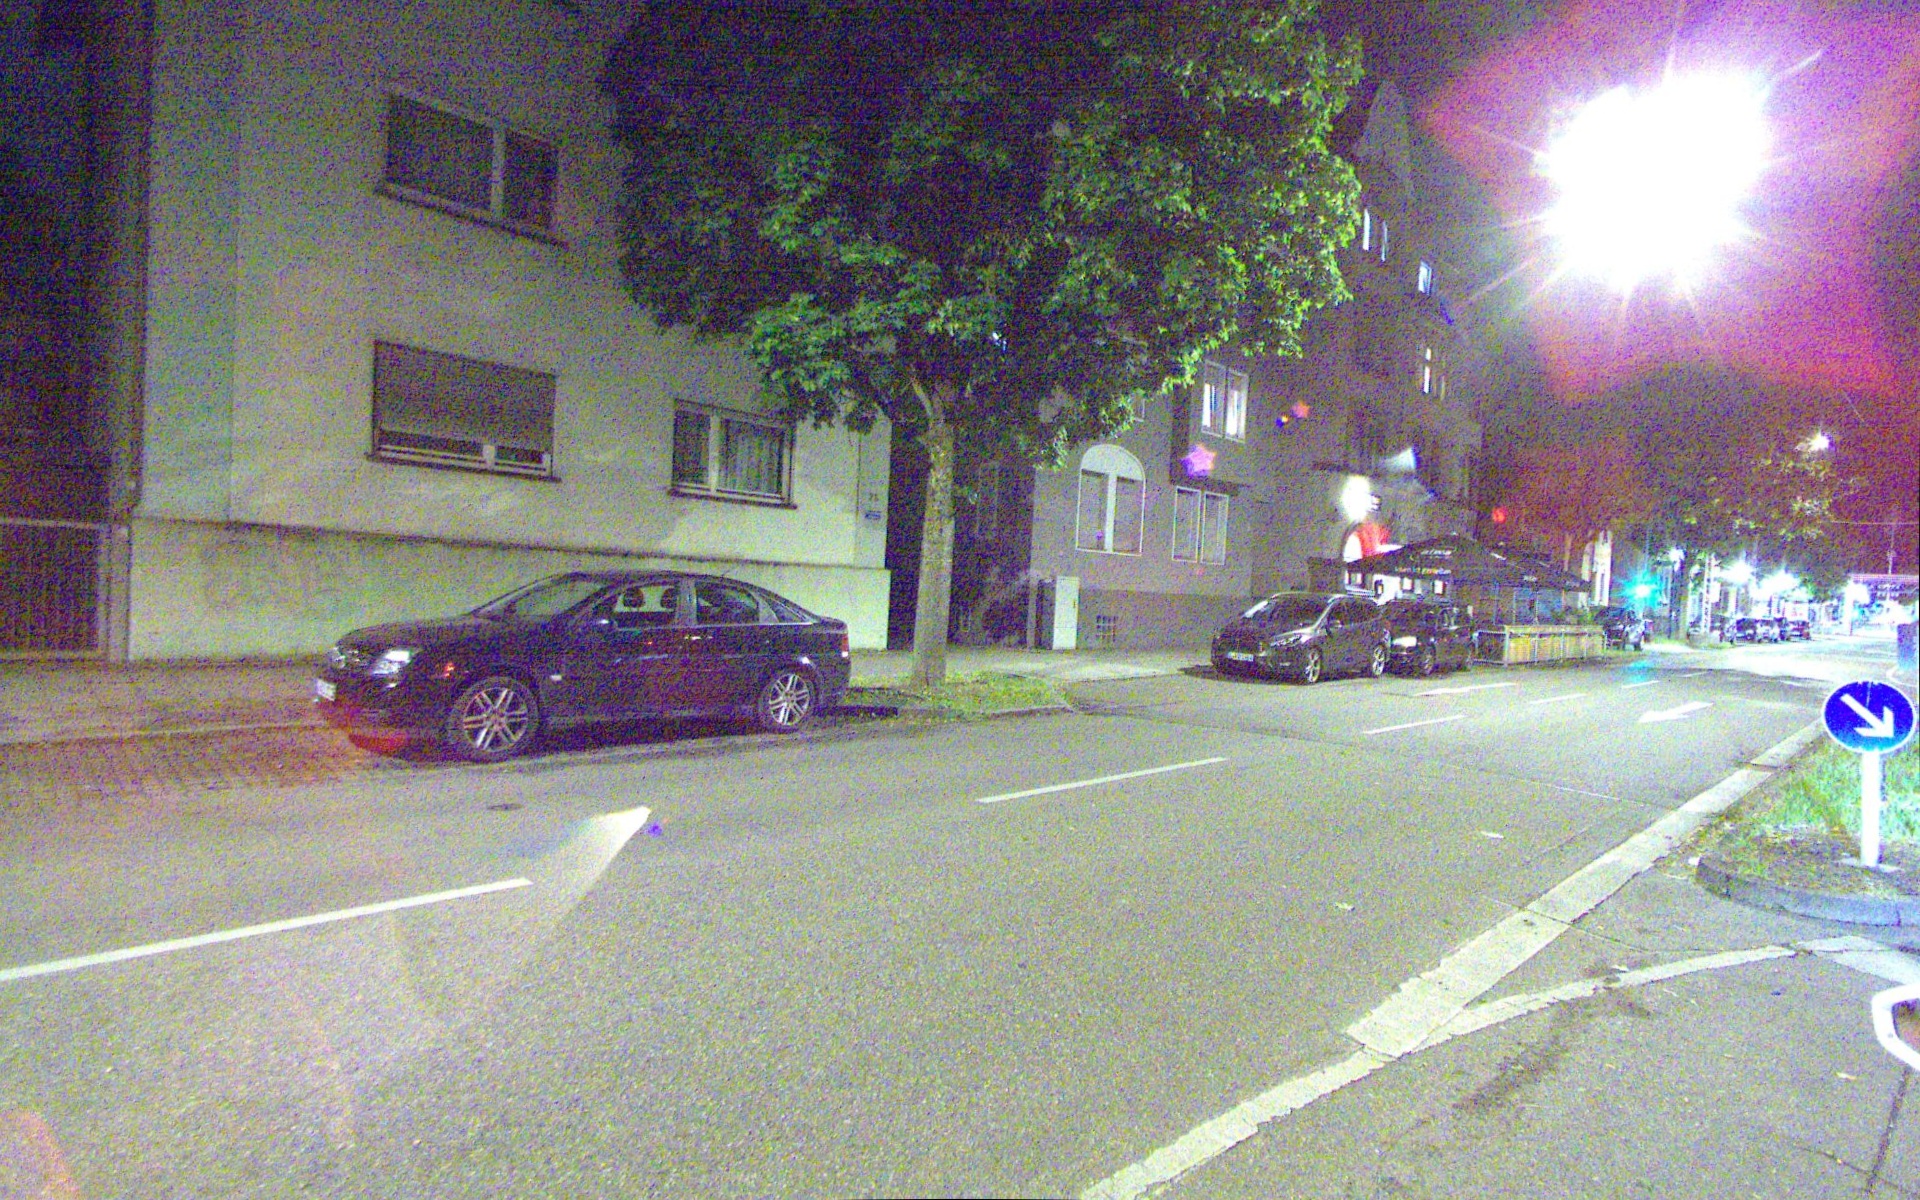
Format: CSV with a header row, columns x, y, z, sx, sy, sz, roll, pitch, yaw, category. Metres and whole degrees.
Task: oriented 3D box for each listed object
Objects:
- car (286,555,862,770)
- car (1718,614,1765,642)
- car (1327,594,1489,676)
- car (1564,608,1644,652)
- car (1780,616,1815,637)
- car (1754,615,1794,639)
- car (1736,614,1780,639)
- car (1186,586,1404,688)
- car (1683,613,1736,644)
x,y,z,sx,sy,sz,roll,pitch,yaw,category
-3.057,0.432,8.767,1.604,1.401,4.428,3,1,42,car
44.833,1.604,57.615,1.634,1.450,3.975,3,1,45,car
9.722,0.724,21.645,1.785,1.501,4.297,4,1,44,car
23.571,1.077,36.714,1.634,1.450,3.975,3,1,45,car
63.597,2.013,76.266,1.634,1.450,3.975,3,1,45,car
53.972,1.794,66.593,1.634,1.450,3.975,3,1,45,car
49.238,1.624,61.959,1.634,1.450,3.975,3,1,45,car
6.123,0.602,18.080,4.423,1.491,1.880,1,4,-45,car
38.893,1.468,52.087,1.634,1.450,3.975,3,1,45,car
